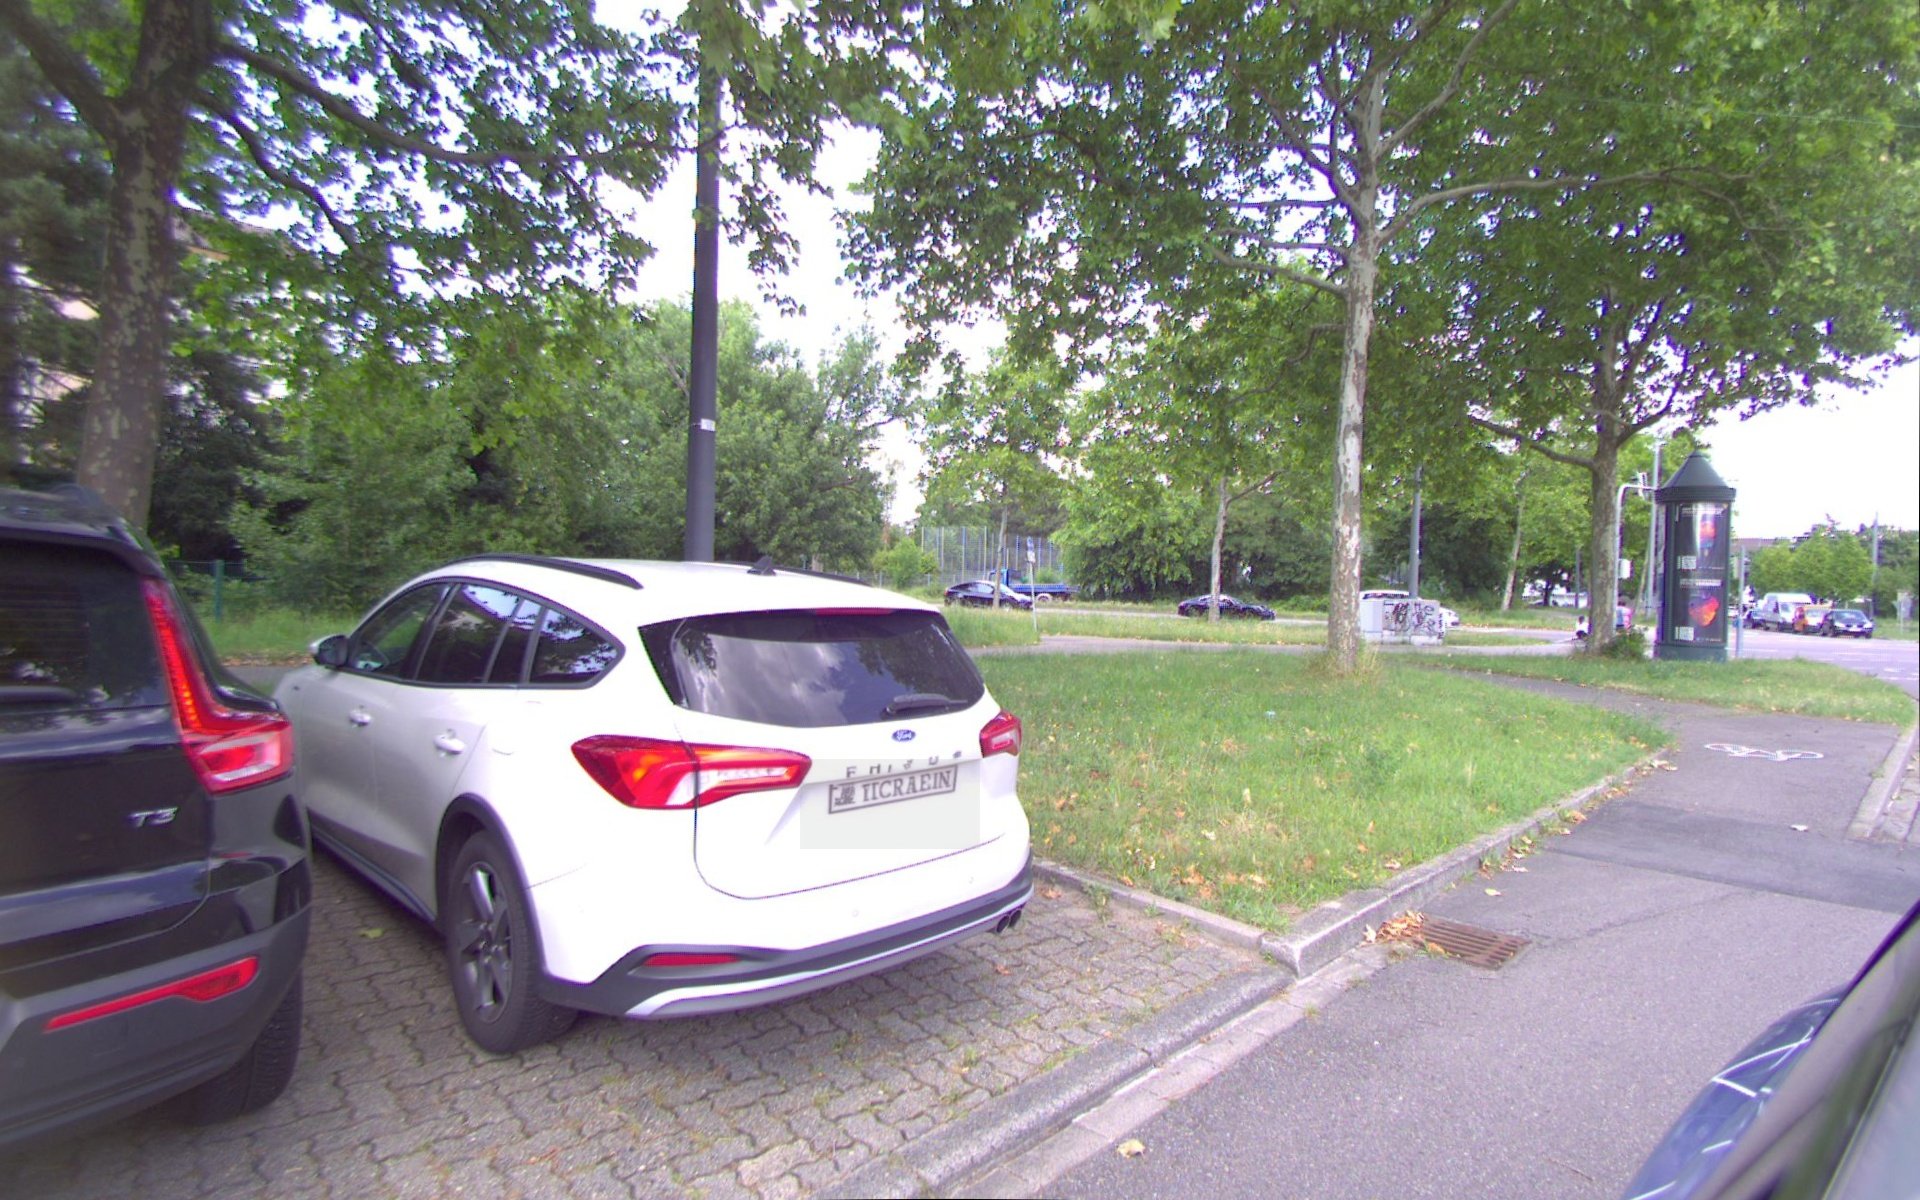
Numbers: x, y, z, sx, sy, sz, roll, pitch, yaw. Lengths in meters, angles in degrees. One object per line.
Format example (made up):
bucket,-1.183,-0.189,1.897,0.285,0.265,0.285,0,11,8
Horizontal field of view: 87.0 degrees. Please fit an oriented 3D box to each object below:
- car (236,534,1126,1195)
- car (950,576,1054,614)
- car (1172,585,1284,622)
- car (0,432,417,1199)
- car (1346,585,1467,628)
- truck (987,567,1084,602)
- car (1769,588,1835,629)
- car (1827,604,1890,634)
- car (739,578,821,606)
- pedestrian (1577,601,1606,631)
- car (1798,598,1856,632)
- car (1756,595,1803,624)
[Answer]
car,-1.713,0.504,4.604,4.661,1.492,1.818,4,2,45
car,2.042,-0.278,49.028,4.645,1.630,1.980,2,2,29
car,12.415,0.118,46.896,4.706,1.487,1.981,2,2,28
car,-3.439,0.429,3.123,4.661,1.646,1.818,4,2,45
car,19.294,0.223,43.718,4.644,1.630,1.981,2,2,28
truck,4.827,-1.020,64.910,5.813,2.038,2.266,2,1,33
car,56.278,0.531,67.766,2.219,2.538,5.670,1,1,28
car,50.315,1.020,56.754,1.781,1.558,3.959,1,1,29
car,-10.820,-0.501,60.824,4.644,1.532,1.981,2,2,28
pedestrian,22.441,0.568,35.974,0.720,1.047,0.888,2,1,41
car,53.146,0.860,62.092,1.780,1.959,4.325,1,1,29
car,58.917,0.638,72.794,1.780,1.959,4.326,1,1,28
